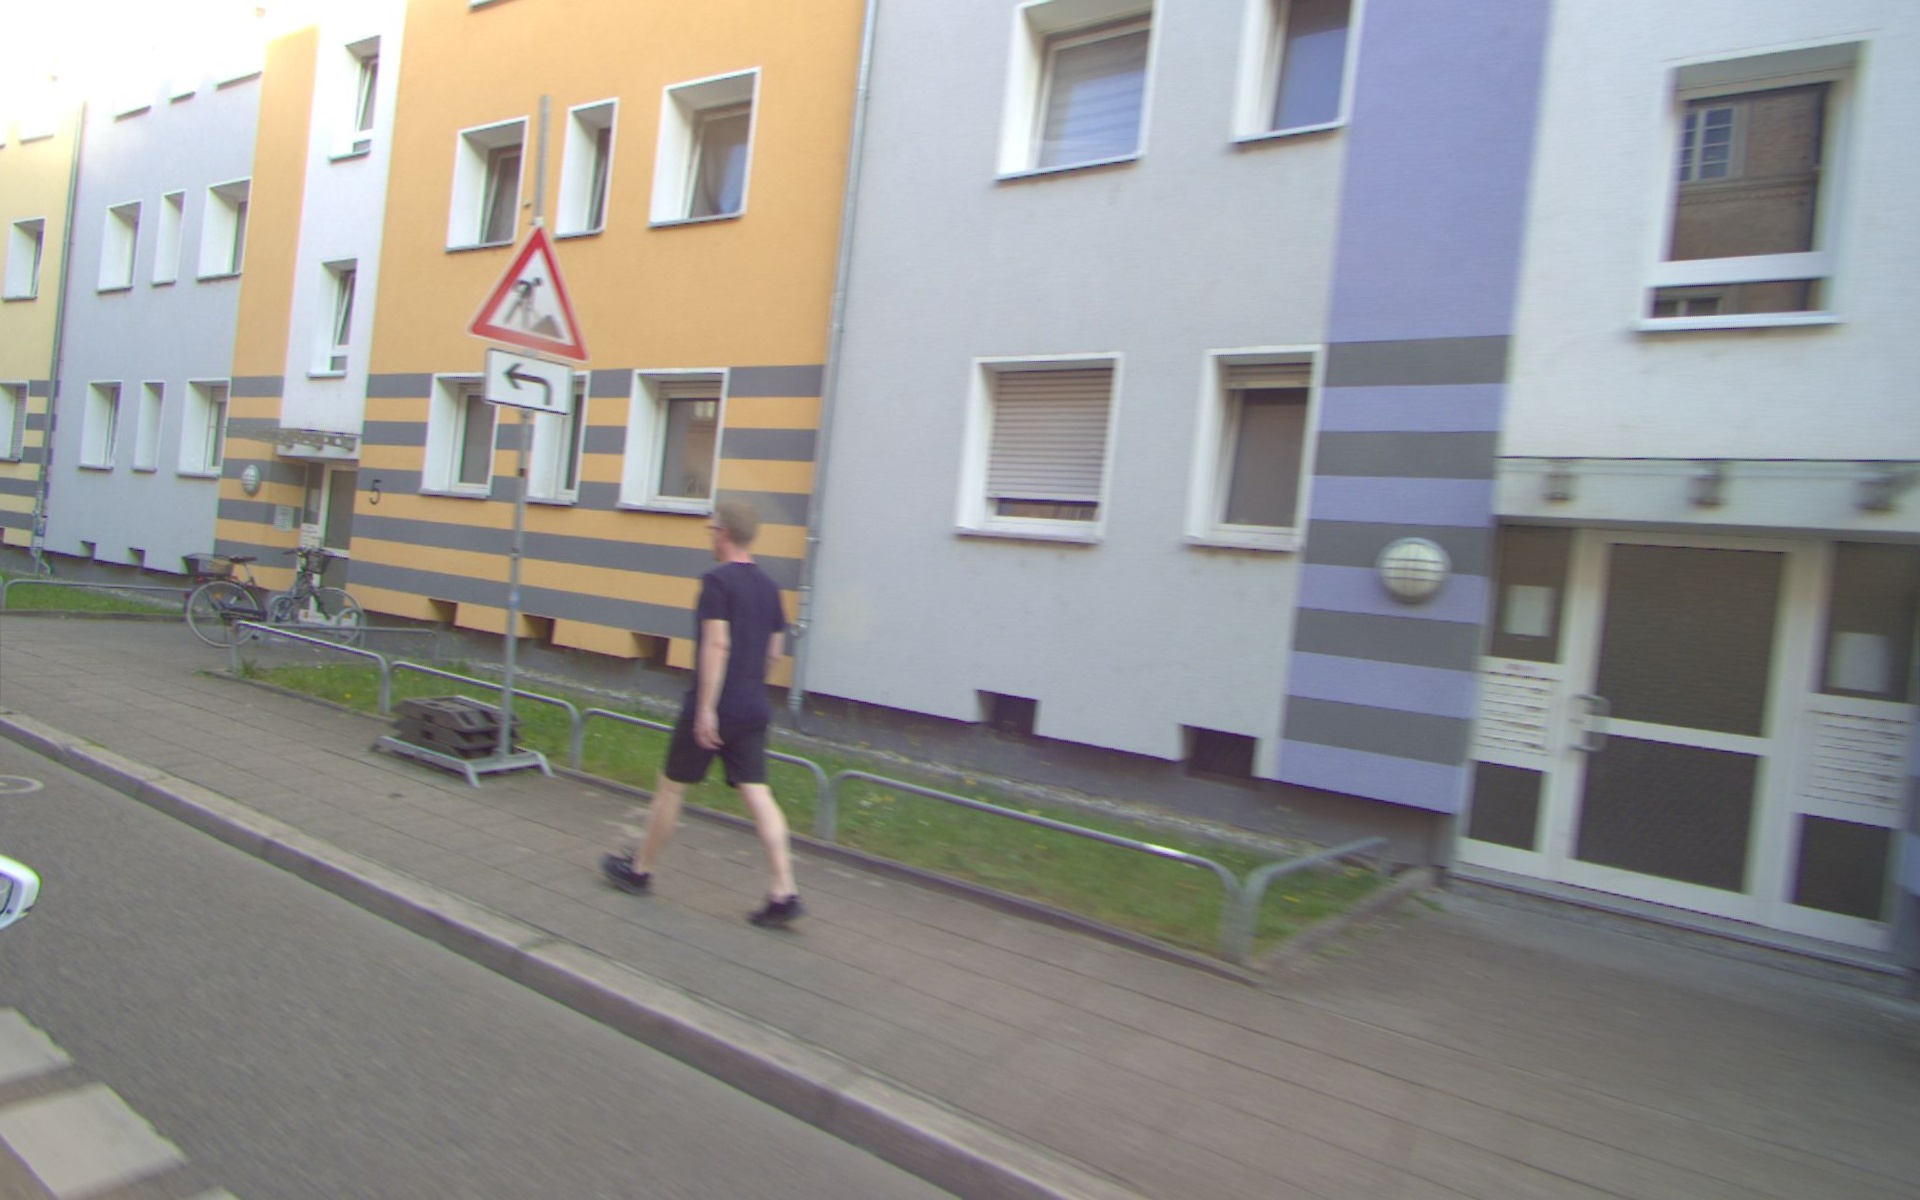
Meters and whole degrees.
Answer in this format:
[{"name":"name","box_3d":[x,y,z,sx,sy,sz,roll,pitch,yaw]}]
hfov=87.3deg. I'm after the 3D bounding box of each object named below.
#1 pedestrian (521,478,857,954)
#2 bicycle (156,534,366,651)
[{"name":"pedestrian","box_3d":[-1.201,0.423,4.417,1.169,1.784,0.696,7,3,32]},{"name":"bicycle","box_3d":[-7.783,-0.048,11.298,0.542,1.151,1.813,6,0,30]}]
